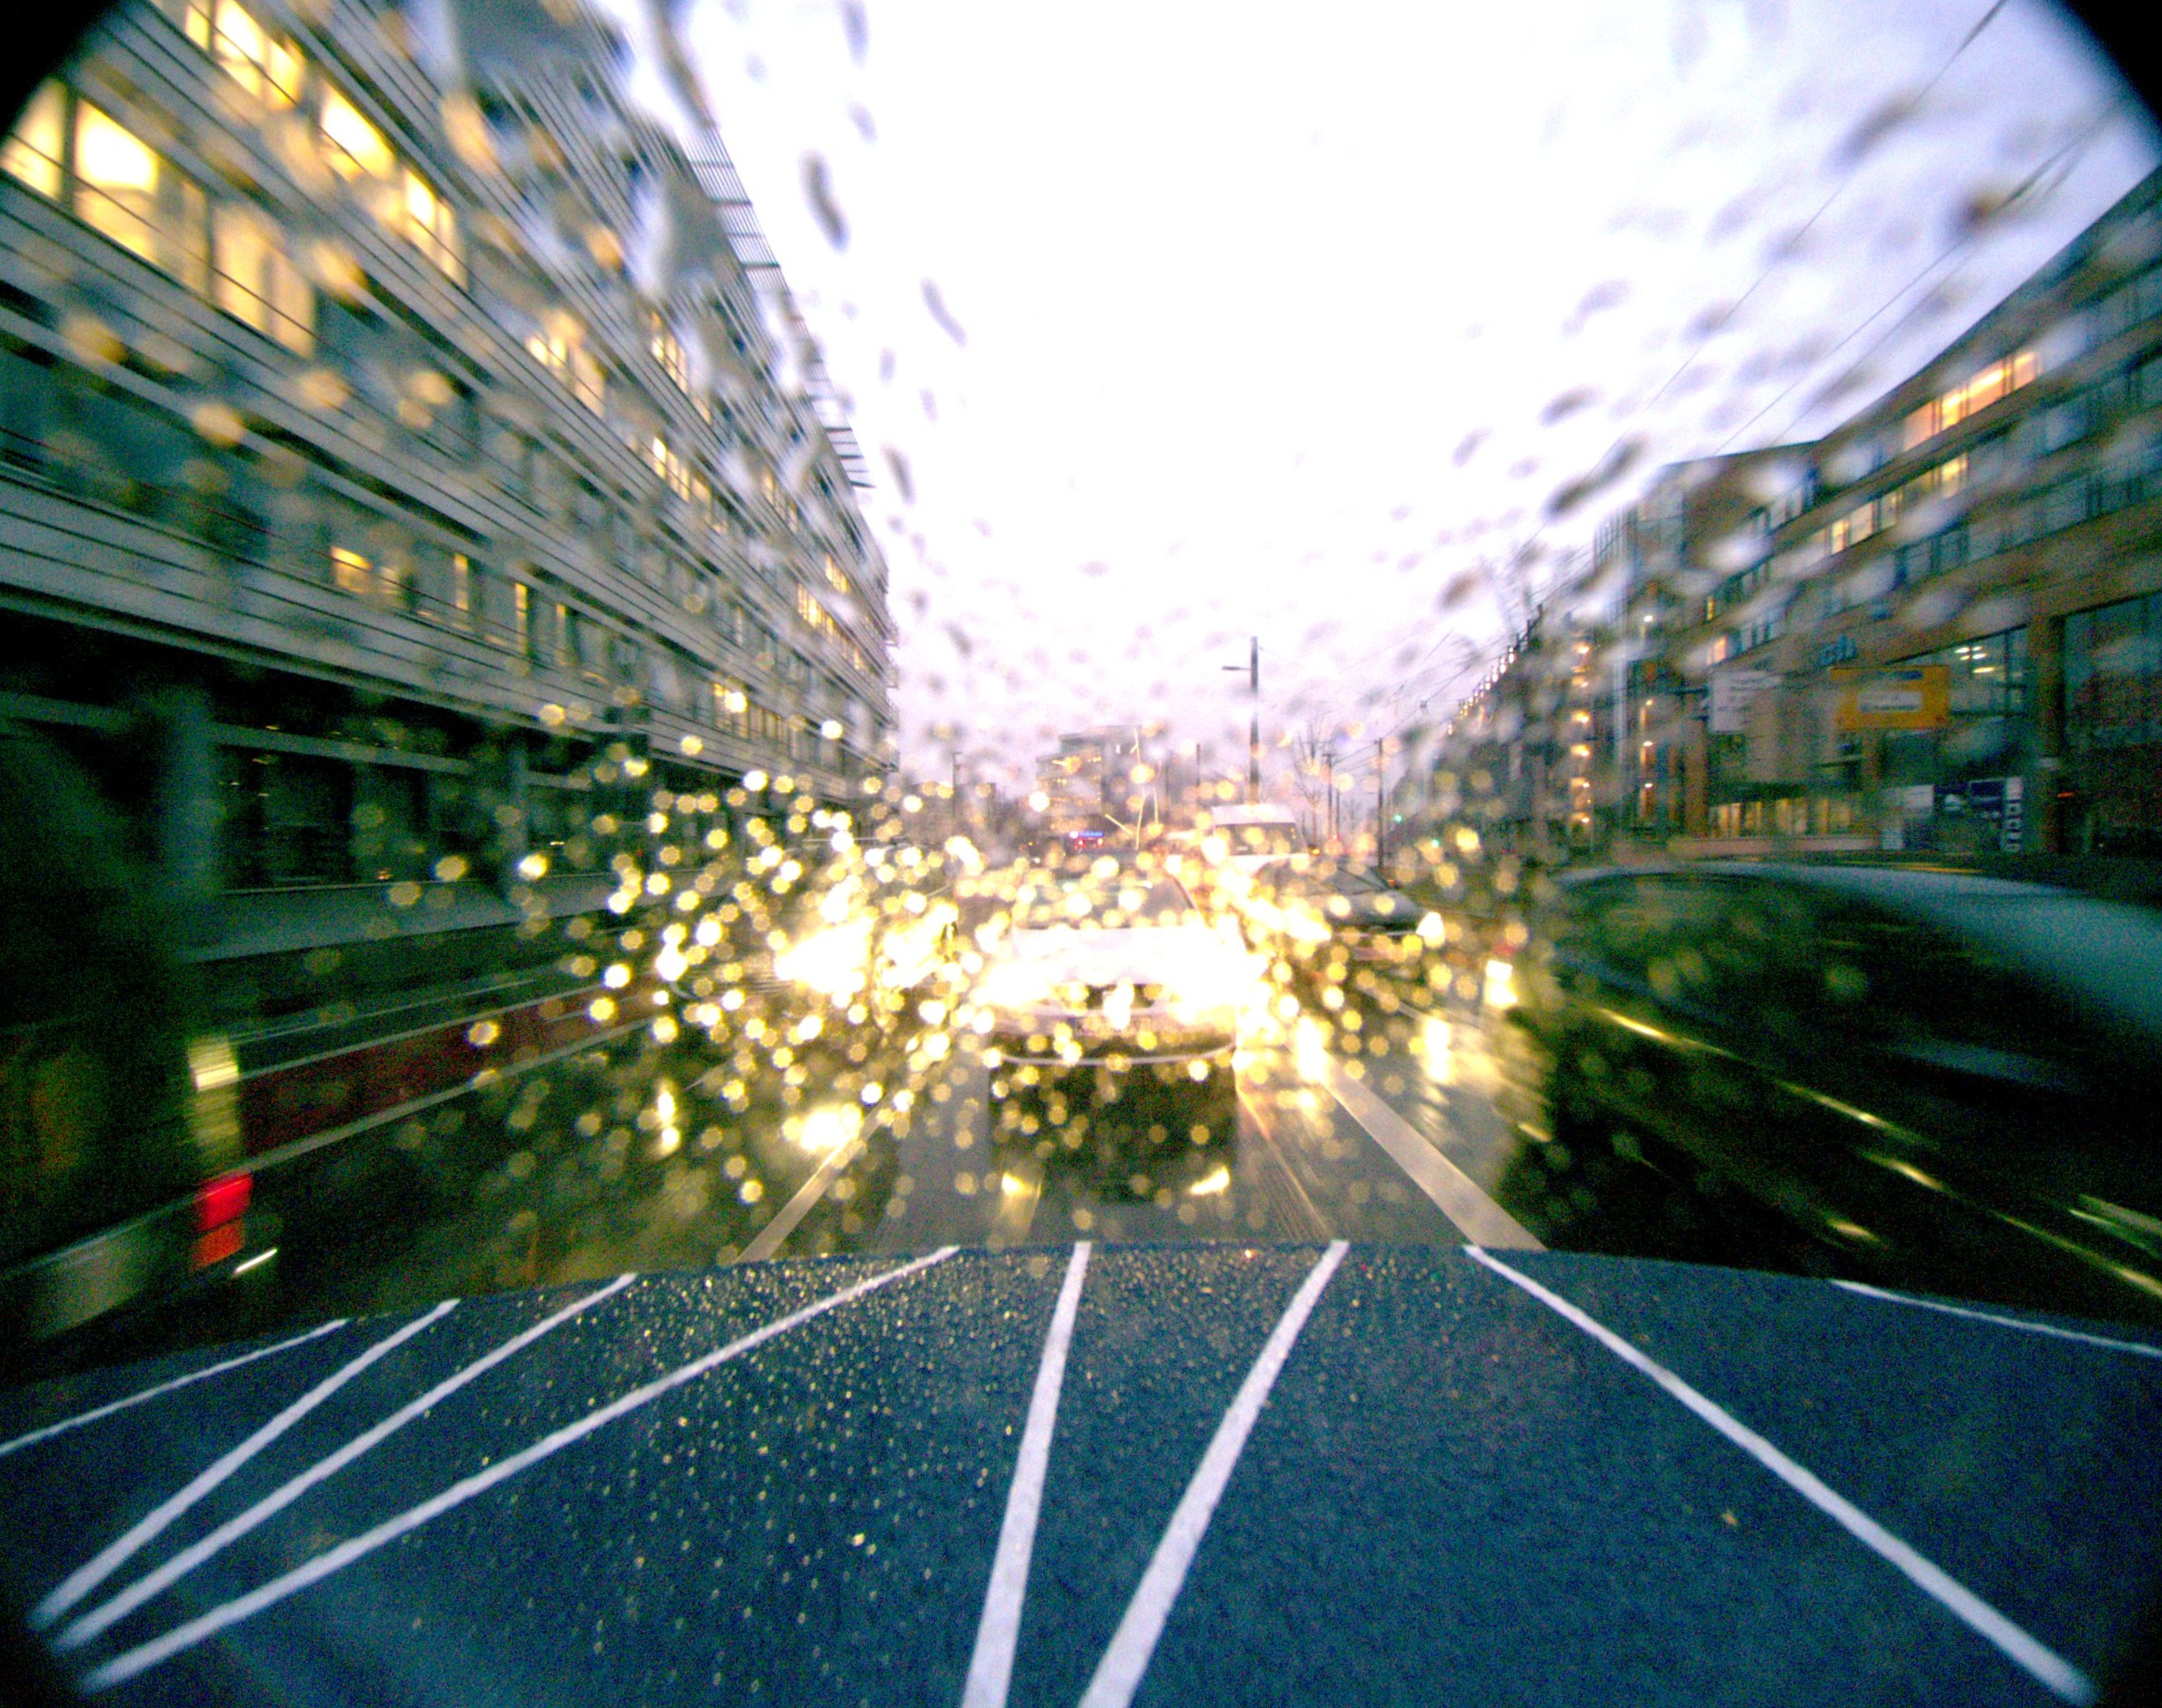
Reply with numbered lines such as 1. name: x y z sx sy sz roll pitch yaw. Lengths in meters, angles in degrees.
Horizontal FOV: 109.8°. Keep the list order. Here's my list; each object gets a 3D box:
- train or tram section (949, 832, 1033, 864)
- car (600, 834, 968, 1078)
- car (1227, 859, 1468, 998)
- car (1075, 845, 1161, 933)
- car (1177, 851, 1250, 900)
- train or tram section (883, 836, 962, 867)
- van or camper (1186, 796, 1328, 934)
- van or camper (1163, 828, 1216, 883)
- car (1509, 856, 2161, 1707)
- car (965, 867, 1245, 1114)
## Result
1. train or tram section: -15.189 -1.062 128.533 13.362 4.832 3.742 -2 1 14
2. car: -2.631 0.768 8.175 1.909 1.809 4.689 -2 1 2
3. car: 3.190 0.803 10.067 1.824 1.324 4.225 -2 1 2
4. car: 0.828 0.688 17.242 1.684 1.723 3.714 -2 1 2
5. car: 4.256 0.633 24.935 1.824 1.391 3.952 -2 1 2
6. train or tram section: -27.677 -0.478 132.598 13.355 4.905 3.744 -2 1 22
7. van or camper: 3.732 0.165 17.318 2.060 2.533 5.885 -2 1 3
8. van or camper: 5.085 0.021 36.316 2.184 2.339 5.651 -2 1 6
9. car: 2.879 0.818 1.843 1.684 1.564 3.761 -1 1 2
10. car: 0.243 0.934 7.071 1.773 1.449 4.221 -2 1 2
